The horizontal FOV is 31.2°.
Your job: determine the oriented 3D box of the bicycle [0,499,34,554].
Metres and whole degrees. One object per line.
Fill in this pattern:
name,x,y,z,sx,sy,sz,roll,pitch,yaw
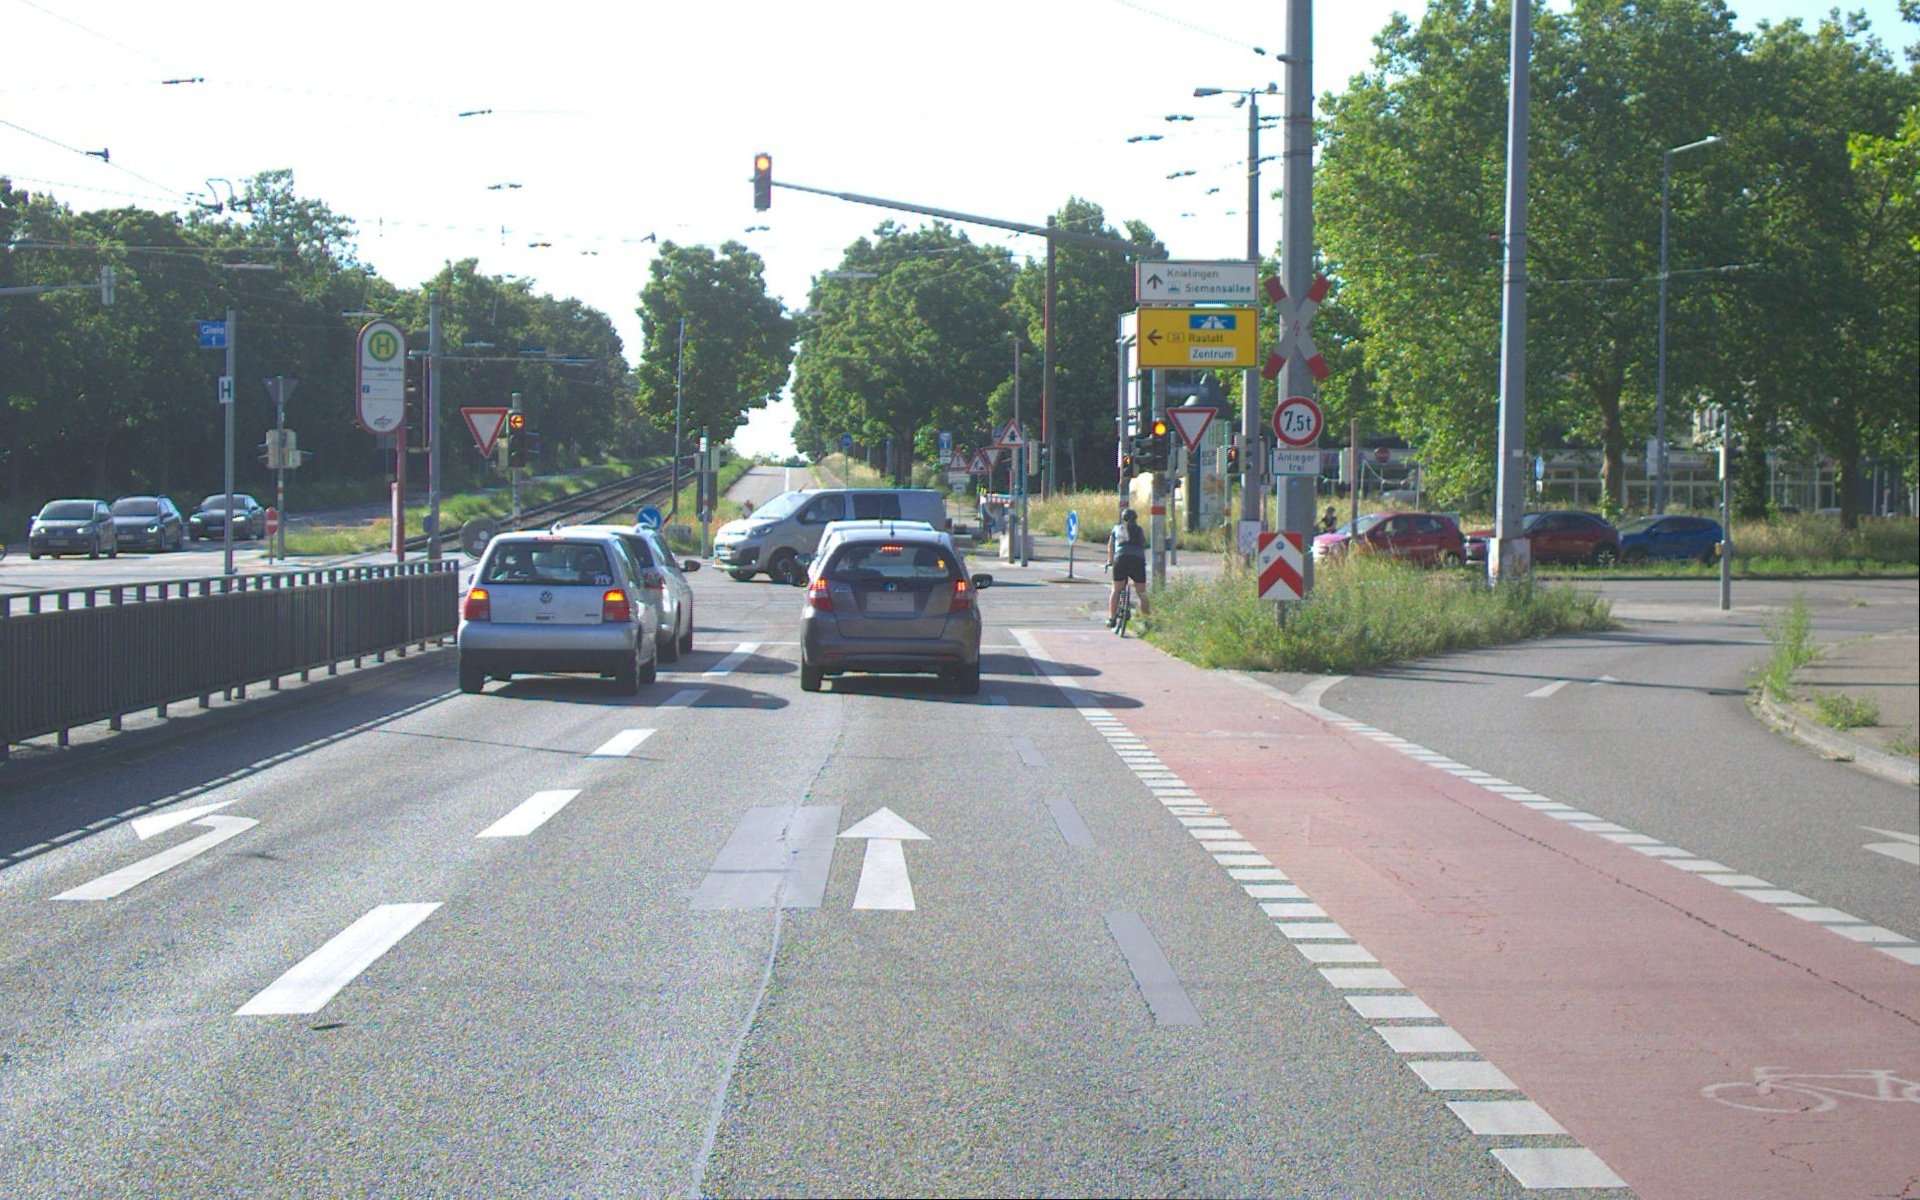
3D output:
bicycle,-22.790,-1.713,79.892,2.395,1.258,0.817,0,1,-18

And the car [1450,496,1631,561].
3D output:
car,13.744,-1.699,81.414,3.986,1.525,1.606,-1,2,-23

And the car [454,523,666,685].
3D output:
car,-3.632,0.004,31.691,1.619,1.413,3.351,0,1,-1

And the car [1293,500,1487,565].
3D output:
car,9.574,-1.495,76.528,4.002,1.398,1.610,0,2,-24

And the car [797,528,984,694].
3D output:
car,-0.713,0.063,32.992,1.668,1.457,3.587,1,1,-3

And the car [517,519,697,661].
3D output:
car,-3.876,-0.143,38.269,1.619,1.452,4.085,1,1,-1

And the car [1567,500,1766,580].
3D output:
car,18.289,-1.551,88.981,4.686,1.873,2.001,2,1,-23

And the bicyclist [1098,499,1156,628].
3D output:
bicyclist,2.272,-0.497,46.781,0.666,1.710,0.948,2,1,-1

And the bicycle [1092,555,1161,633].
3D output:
bicycle,2.255,-0.095,46.869,0.722,0.985,2.876,2,1,-1

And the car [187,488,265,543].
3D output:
car,-22.577,-2.616,105.898,1.993,1.599,4.757,2,2,-8

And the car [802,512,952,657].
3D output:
car,-0.943,-0.224,39.625,1.611,1.557,4.288,1,1,-1

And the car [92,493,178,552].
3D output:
car,-22.439,-2.120,93.614,1.832,1.543,4.286,0,1,-7

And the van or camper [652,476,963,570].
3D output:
van or camper,-3.085,-1.553,69.700,5.966,1.822,2.001,0,2,-25

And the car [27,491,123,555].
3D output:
car,-22.045,-1.932,85.757,1.832,1.543,4.001,0,1,-7

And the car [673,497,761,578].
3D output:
car,-6.378,-1.654,90.702,1.993,2.007,4.492,2,1,-1
